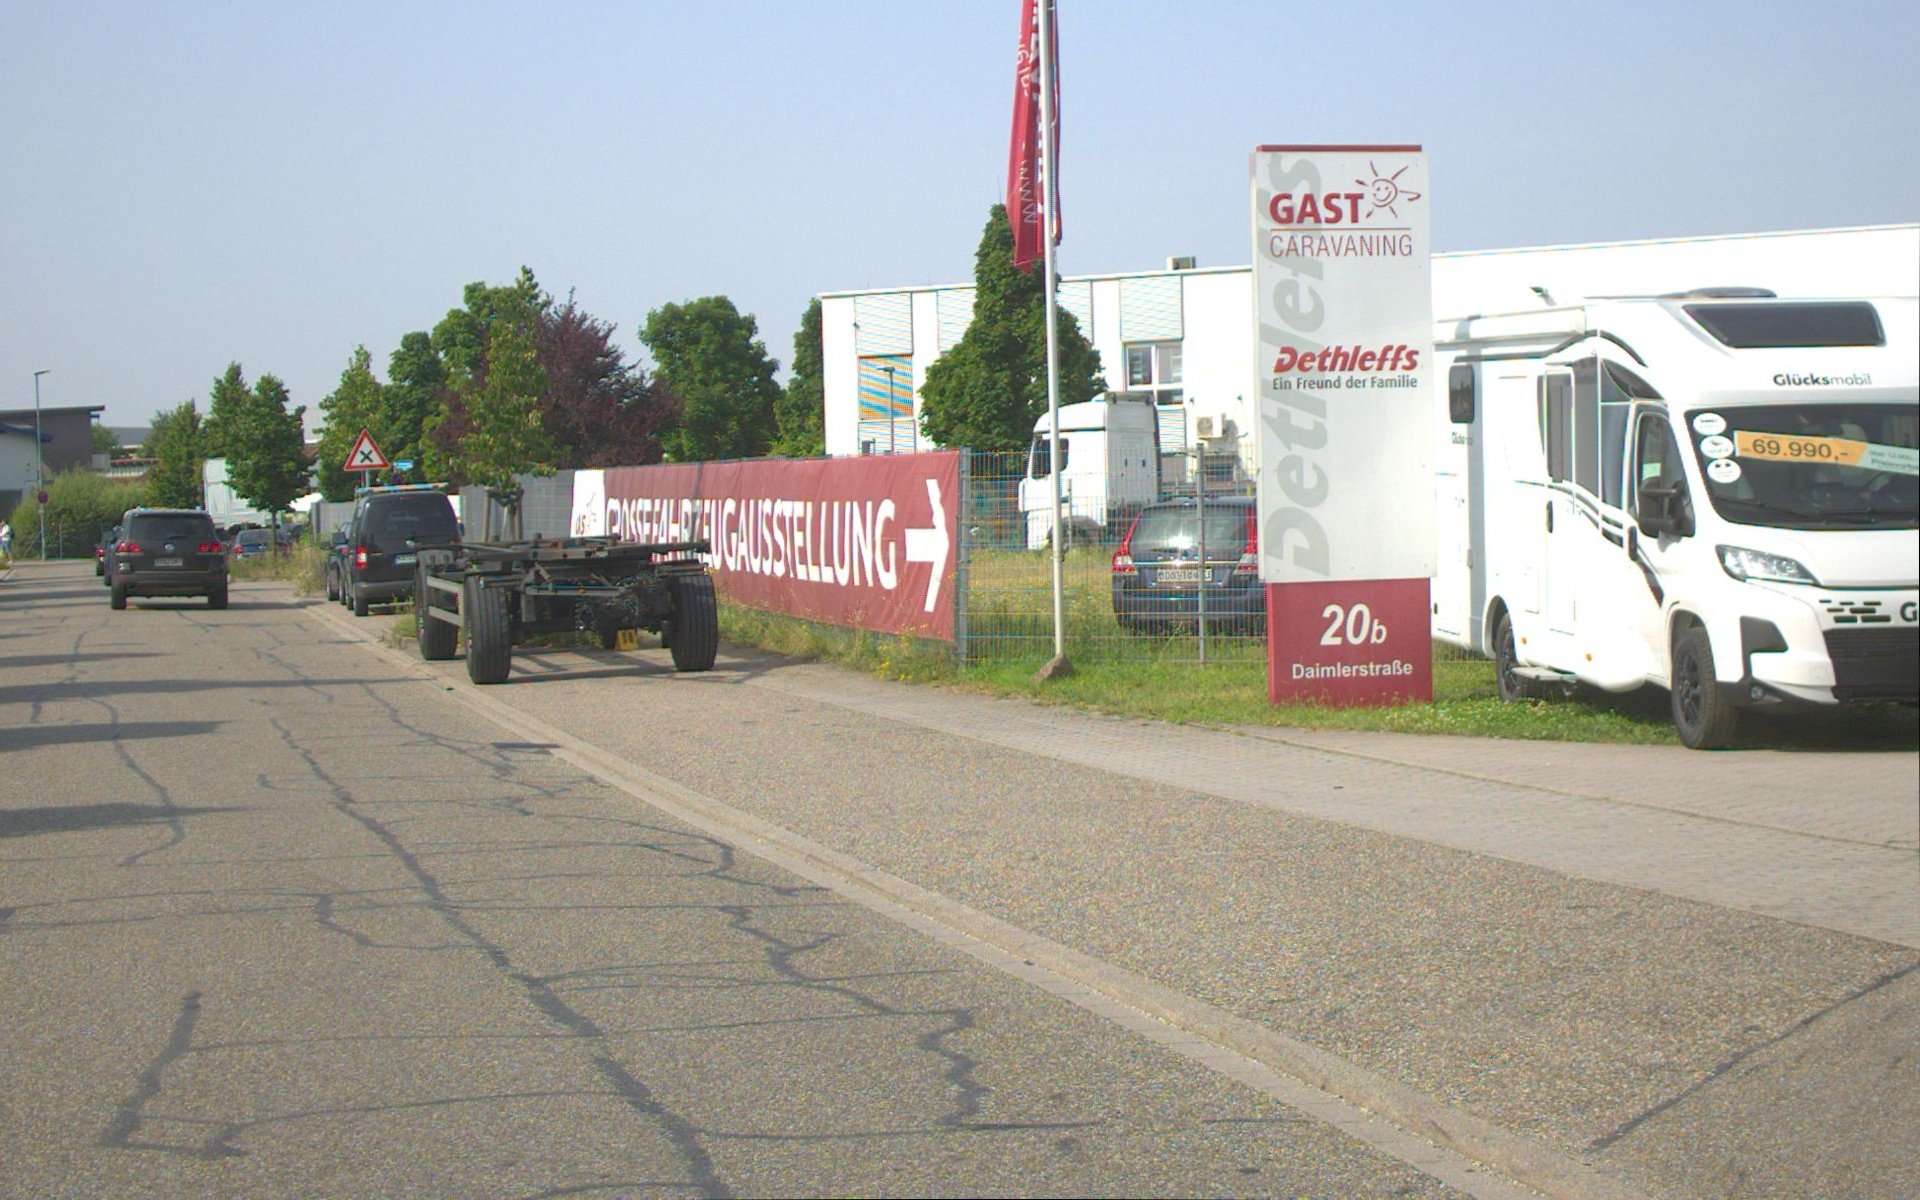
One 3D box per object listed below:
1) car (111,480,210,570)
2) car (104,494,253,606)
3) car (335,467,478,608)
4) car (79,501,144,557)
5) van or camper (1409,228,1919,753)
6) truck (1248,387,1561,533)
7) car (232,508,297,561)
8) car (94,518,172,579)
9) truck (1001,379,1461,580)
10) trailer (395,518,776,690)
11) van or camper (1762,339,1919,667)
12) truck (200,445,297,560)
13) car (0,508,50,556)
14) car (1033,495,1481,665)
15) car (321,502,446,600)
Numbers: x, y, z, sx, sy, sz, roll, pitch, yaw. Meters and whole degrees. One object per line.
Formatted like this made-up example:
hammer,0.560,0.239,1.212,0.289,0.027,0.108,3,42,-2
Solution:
car,-18.020,-1.732,77.637,1.993,1.893,4.469,0,3,-11
car,-13.190,-0.873,58.208,1.993,1.798,4.001,1,2,-6
car,-8.560,-0.999,52.947,1.818,1.971,4.002,-5,3,-12
car,-27.977,-2.353,113.347,1.993,1.765,4.001,-1,2,-14
van or camper,4.961,-0.741,22.851,2.330,2.933,6.973,-1,2,-6
truck,8.141,-2.518,62.036,2.455,2.462,7.988,1,2,32
car,-20.867,-1.982,103.026,1.818,1.444,3.802,-2,2,-12
car,-22.778,-1.436,94.616,1.993,1.634,4.001,-1,2,-14
truck,5.535,-2.449,71.139,9.299,3.958,2.455,0,2,29
trailer,-4.131,-0.082,35.781,2.622,1.383,9.458,-3,2,-14
van or camper,9.168,-0.894,29.544,2.487,2.550,6.615,1,3,31
truck,-23.505,-3.214,113.478,2.886,3.573,8.064,-2,2,-12
car,-34.982,-2.540,128.152,1.993,1.765,4.001,-1,2,-14
car,2.901,-0.234,33.105,3.989,1.471,2.171,-3,2,-43
car,-9.833,-0.862,58.441,1.818,1.444,3.802,-5,3,-12
